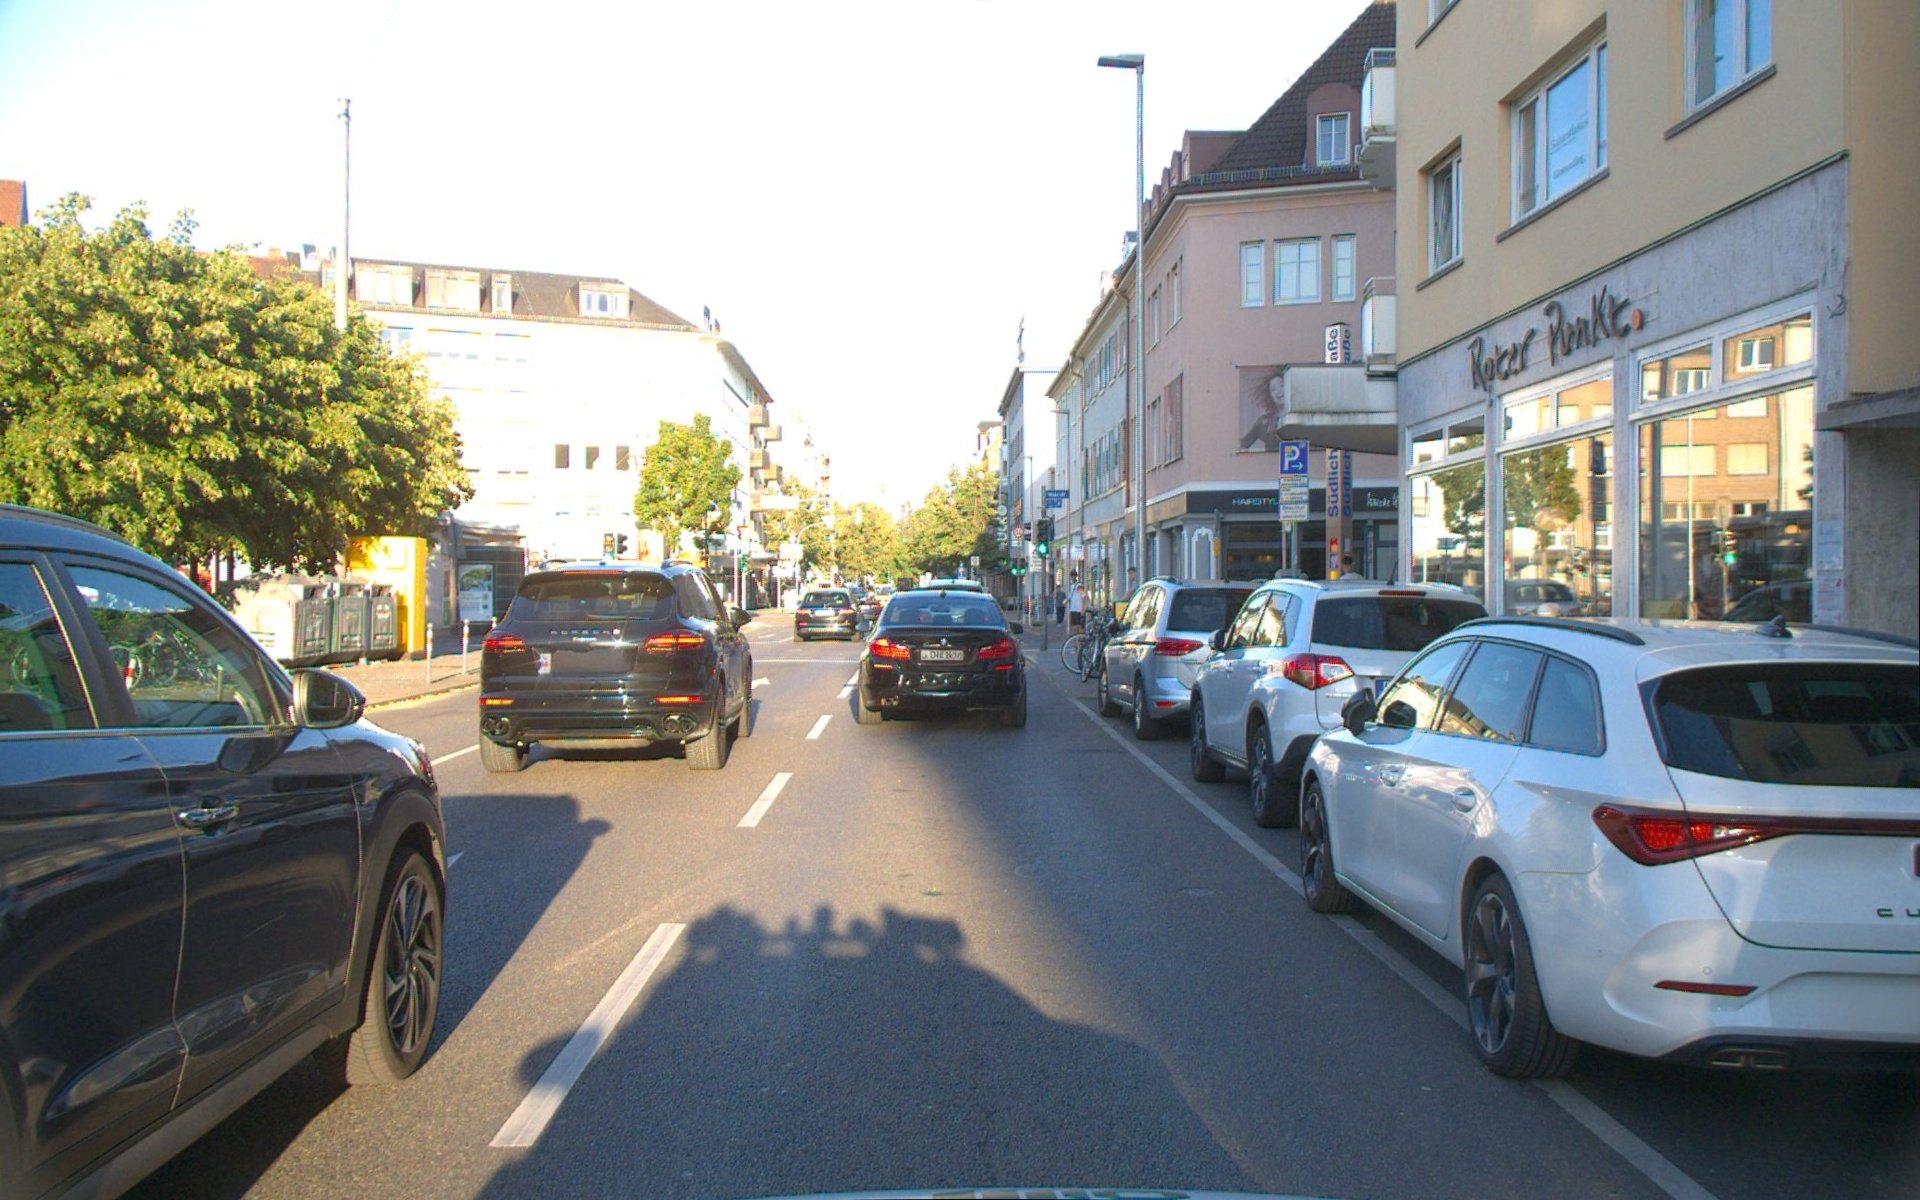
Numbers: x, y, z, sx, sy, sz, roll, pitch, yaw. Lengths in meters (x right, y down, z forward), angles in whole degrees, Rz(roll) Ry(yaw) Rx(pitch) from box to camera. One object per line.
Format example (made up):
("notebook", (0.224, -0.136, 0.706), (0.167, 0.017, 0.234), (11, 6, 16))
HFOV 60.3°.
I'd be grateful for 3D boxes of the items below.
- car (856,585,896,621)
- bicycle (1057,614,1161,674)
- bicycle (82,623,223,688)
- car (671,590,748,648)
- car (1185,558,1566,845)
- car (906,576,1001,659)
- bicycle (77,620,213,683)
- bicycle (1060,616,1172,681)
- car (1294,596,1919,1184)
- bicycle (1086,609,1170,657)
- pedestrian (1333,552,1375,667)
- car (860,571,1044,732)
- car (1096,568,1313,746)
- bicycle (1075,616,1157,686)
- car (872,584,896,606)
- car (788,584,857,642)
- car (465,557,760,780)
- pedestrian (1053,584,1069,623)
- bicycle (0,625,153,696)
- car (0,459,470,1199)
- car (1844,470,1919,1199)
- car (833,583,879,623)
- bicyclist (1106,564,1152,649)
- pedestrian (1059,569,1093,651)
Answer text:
("car", (-3.775, 0.098, 74.915), (1.744, 1.574, 3.998), (0, 1, -2))
("bicycle", (2.518, 0.737, 28.038), (1.729, 0.984, 0.490), (0, 0, 4))
("bicycle", (-12.031, 0.827, 24.673), (1.790, 0.868, 0.483), (3, 0, -5))
("car", (-7.107, 0.501, 47.261), (1.744, 1.574, 3.998), (0, 1, -2))
("car", (2.769, 0.616, 11.886), (1.694, 1.681, 3.828), (2, 0, -1))
("car", (-0.190, 0.336, 35.058), (1.858, 1.608, 3.999), (1, 0, -2))
("bicycle", (-12.585, 0.798, 25.569), (1.790, 0.868, 0.483), (3, 0, -5))
("bicycle", (2.496, 0.759, 26.493), (1.730, 0.984, 0.490), (1, 0, 24))
("car", (2.591, 0.756, 6.372), (1.694, 1.476, 4.312), (2, 0, 0))
("bicycle", (3.591, 0.695, 35.421), (1.731, 0.984, 0.490), (1, 0, 26))
("pedestrian", (6.382, 0.147, 26.797), (0.497, 1.843, 0.572), (0, 0, -5))
("car", (-0.146, 0.516, 19.029), (1.858, 1.608, 3.999), (1, 0, -2))
("car", (2.546, 0.558, 18.102), (1.694, 1.681, 3.969), (2, 0, -1))
("bicycle", (2.353, 0.754, 25.150), (0.482, 0.984, 1.760), (0, 1, -22))
("car", (-5.637, -0.384, 122.853), (1.744, 1.574, 3.998), (0, 1, -2))
("car", (-3.837, 0.331, 46.553), (1.744, 1.574, 3.998), (0, 1, -2))
("car", (-2.868, 0.503, 14.543), (1.858, 1.678, 4.103), (0, 0, -2))
("pedestrian", (4.066, 0.142, 66.625), (0.619, 1.561, 0.702), (0, 0, 1))
("bicycle", (-12.205, 0.834, 22.865), (1.790, 0.868, 0.483), (3, 0, -5))
("car", (-2.507, 0.601, 3.446), (1.858, 1.678, 4.103), (0, 0, -2))
("car", (2.466, 0.646, 0.824), (1.694, 1.679, 4.283), (2, 0, -1))
("car", (-4.167, 0.103, 66.831), (1.744, 1.574, 3.998), (0, 1, -2))
("bicyclist", (3.628, 0.131, 35.405), (0.814, 1.808, 0.608), (1, 0, 26))
("pedestrian", (2.638, 0.218, 37.651), (0.686, 1.843, 0.634), (0, 0, -5))
